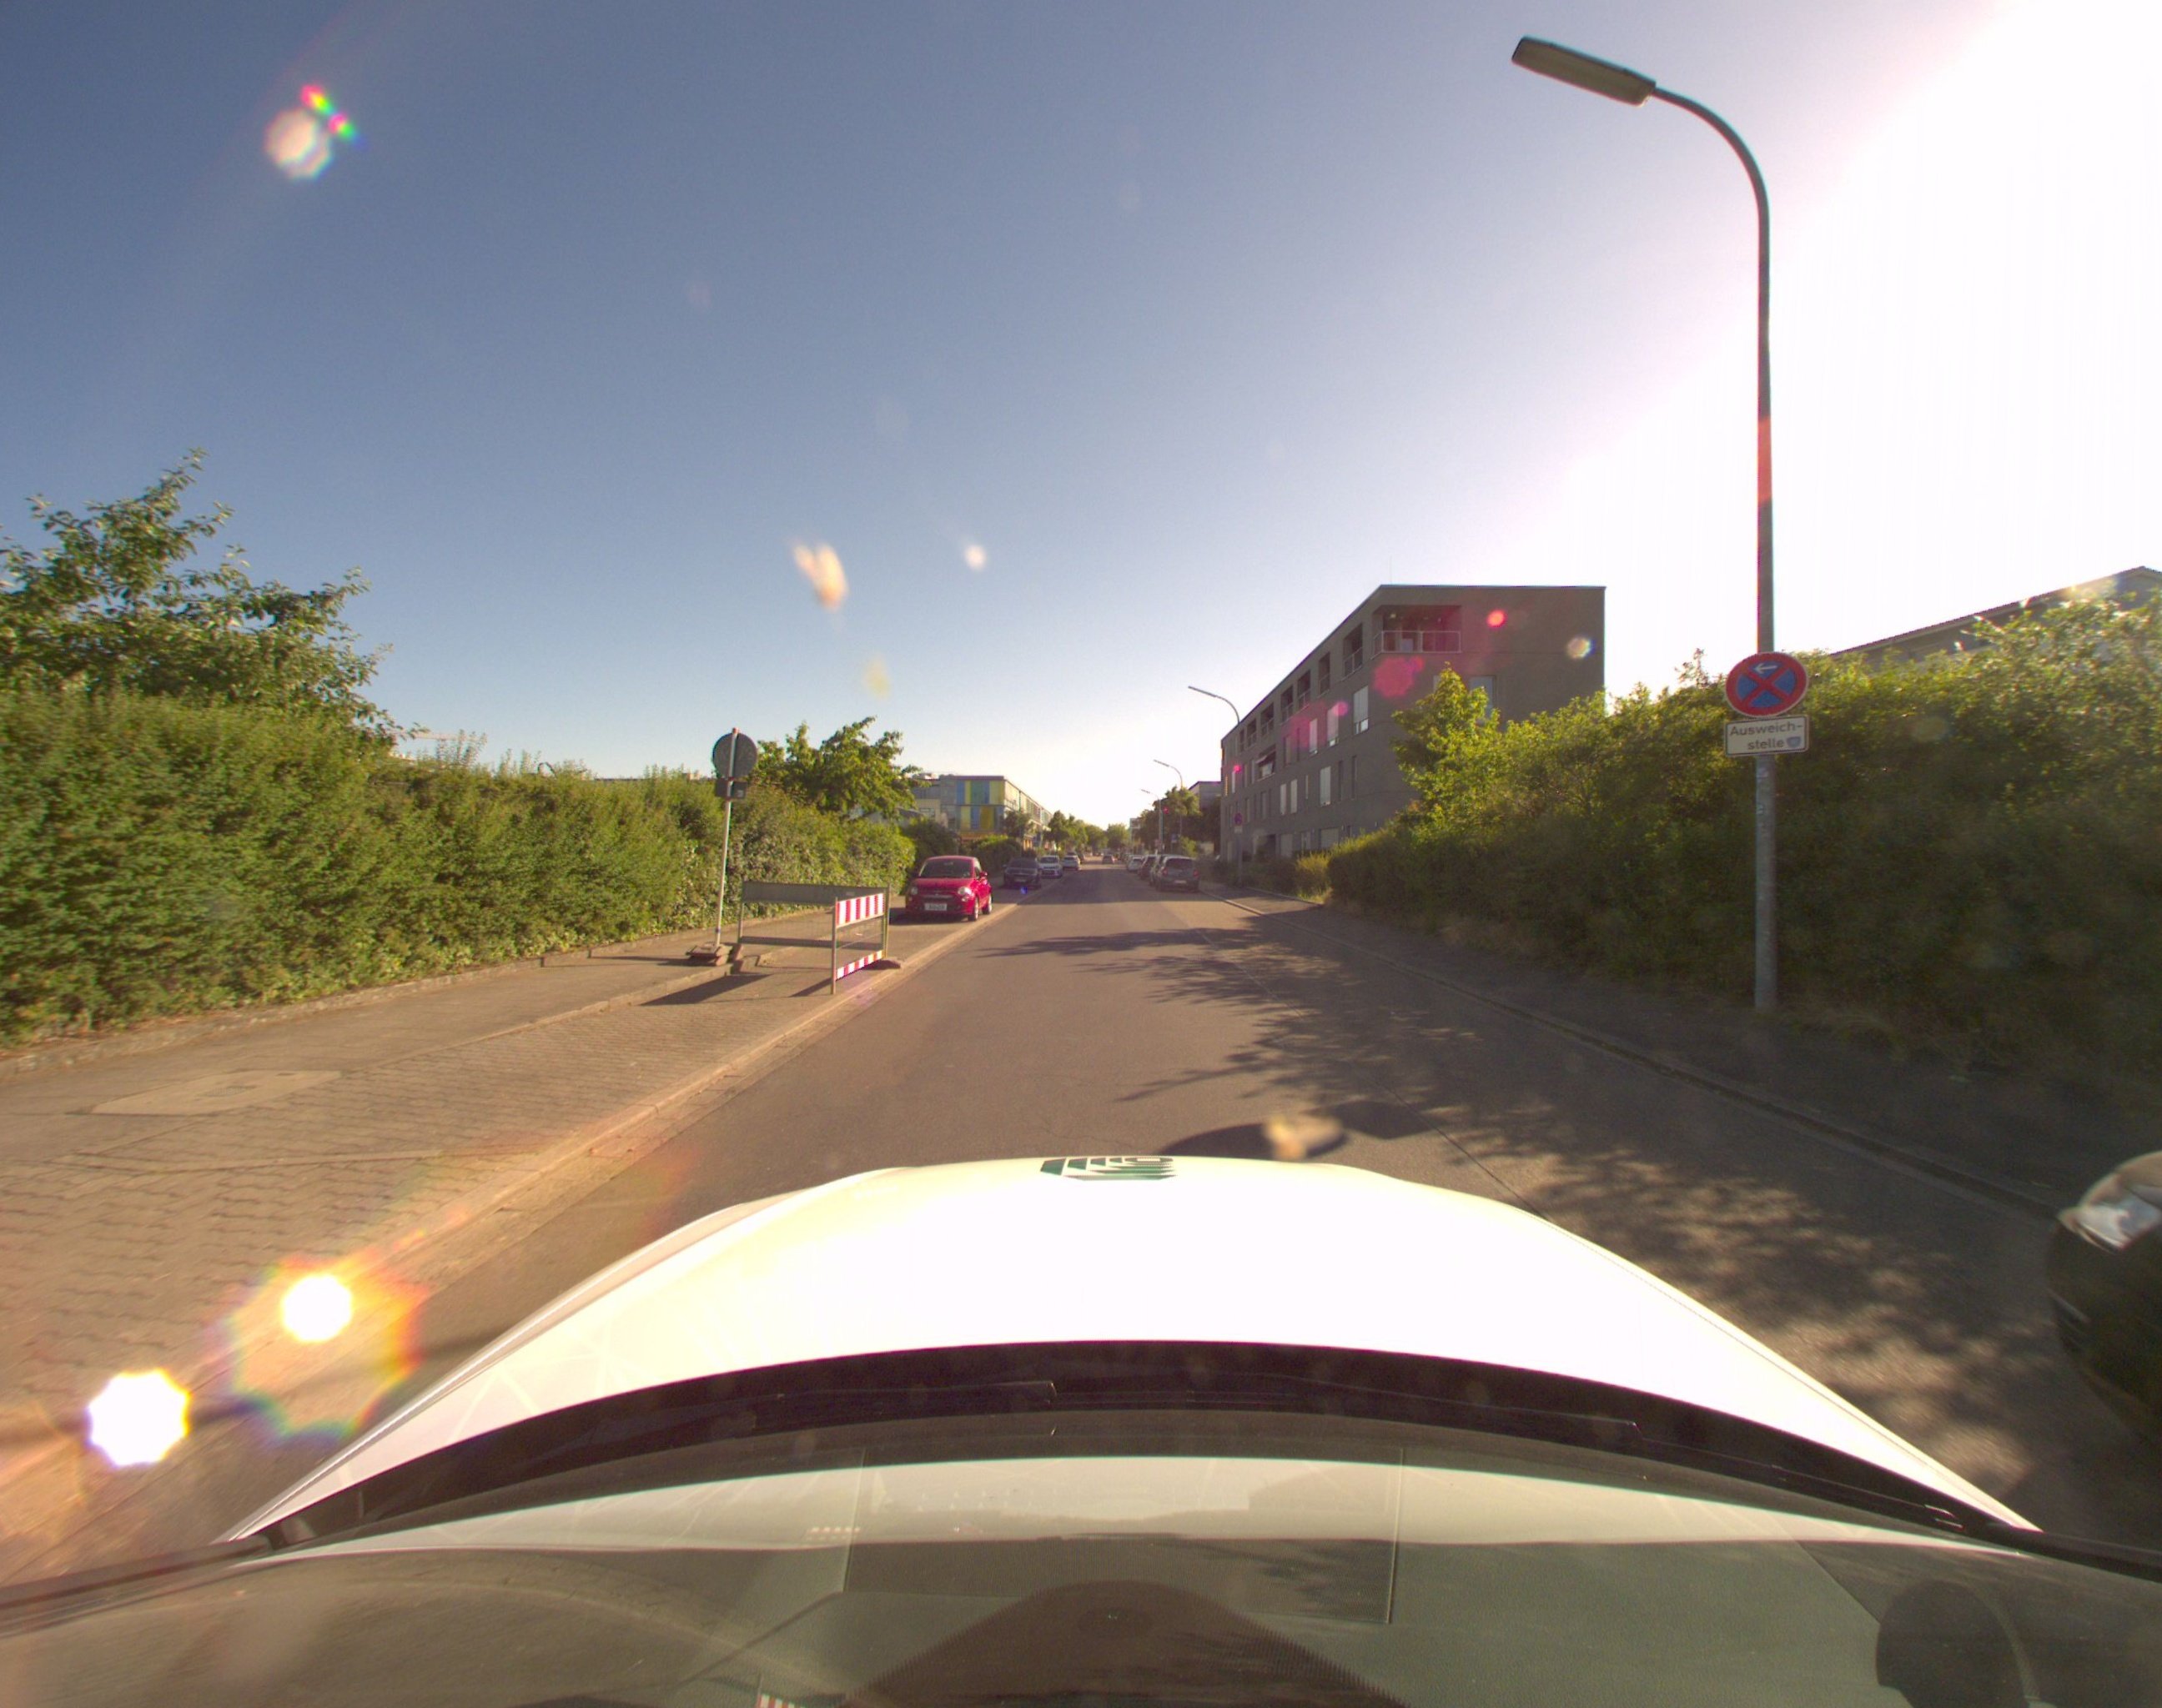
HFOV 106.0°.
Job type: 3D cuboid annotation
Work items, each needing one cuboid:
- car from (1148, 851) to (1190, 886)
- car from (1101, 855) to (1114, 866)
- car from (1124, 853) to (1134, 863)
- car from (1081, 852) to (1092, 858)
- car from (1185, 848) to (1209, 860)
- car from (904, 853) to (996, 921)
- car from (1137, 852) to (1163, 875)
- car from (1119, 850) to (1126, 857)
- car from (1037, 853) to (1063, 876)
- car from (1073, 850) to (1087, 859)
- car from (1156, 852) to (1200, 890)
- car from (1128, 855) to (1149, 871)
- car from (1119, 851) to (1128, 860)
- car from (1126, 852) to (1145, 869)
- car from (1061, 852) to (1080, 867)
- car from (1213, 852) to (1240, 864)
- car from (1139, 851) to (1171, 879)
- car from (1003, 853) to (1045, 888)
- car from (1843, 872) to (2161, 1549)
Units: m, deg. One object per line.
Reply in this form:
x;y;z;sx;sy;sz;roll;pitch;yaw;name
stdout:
4.411;0.691;41.173;1.670;1.608;4.179;2;0;1;car
3.824;0.903;118.484;1.683;1.549;3.614;1;0;1;car
7.587;0.619;129.872;1.440;1.549;3.614;1;0;1;car
1.715;0.287;258.897;3.595;1.549;1.448;2;0;-4;car
16.227;0.048;113.739;3.201;1.549;1.451;2;0;4;car
-3.068;0.723;19.759;1.554;1.495;3.571;-1;0;1;car
5.102;0.687;60.303;1.651;1.551;3.852;1;0;1;car
8.698;-0.117;171.287;1.440;1.549;3.614;1;0;1;car
-2.057;0.709;54.935;1.554;1.495;3.759;-1;0;1;car
-0.144;0.111;143.629;1.845;1.563;4.141;1;0;6;car
4.230;0.697;36.079;1.616;1.526;3.904;2;0;2;car
5.276;0.792;75.251;1.735;1.428;4.135;1;0;1;car
7.627;0.317;145.882;1.440;1.549;3.614;1;0;1;car
5.391;0.650;81.262;1.627;1.630;3.614;1;0;1;car
-1.062;0.545;84.181;1.848;1.428;4.135;1;0;1;car
18.890;0.474;105.717;3.201;1.460;1.451;2;0;4;car
4.619;0.646;51.312;1.735;1.625;4.180;1;0;1;car
-2.621;0.747;37.892;1.554;1.495;3.571;2;0;1;car
3.169;0.796;0.131;1.748;1.413;4.656;2;0;0;car
